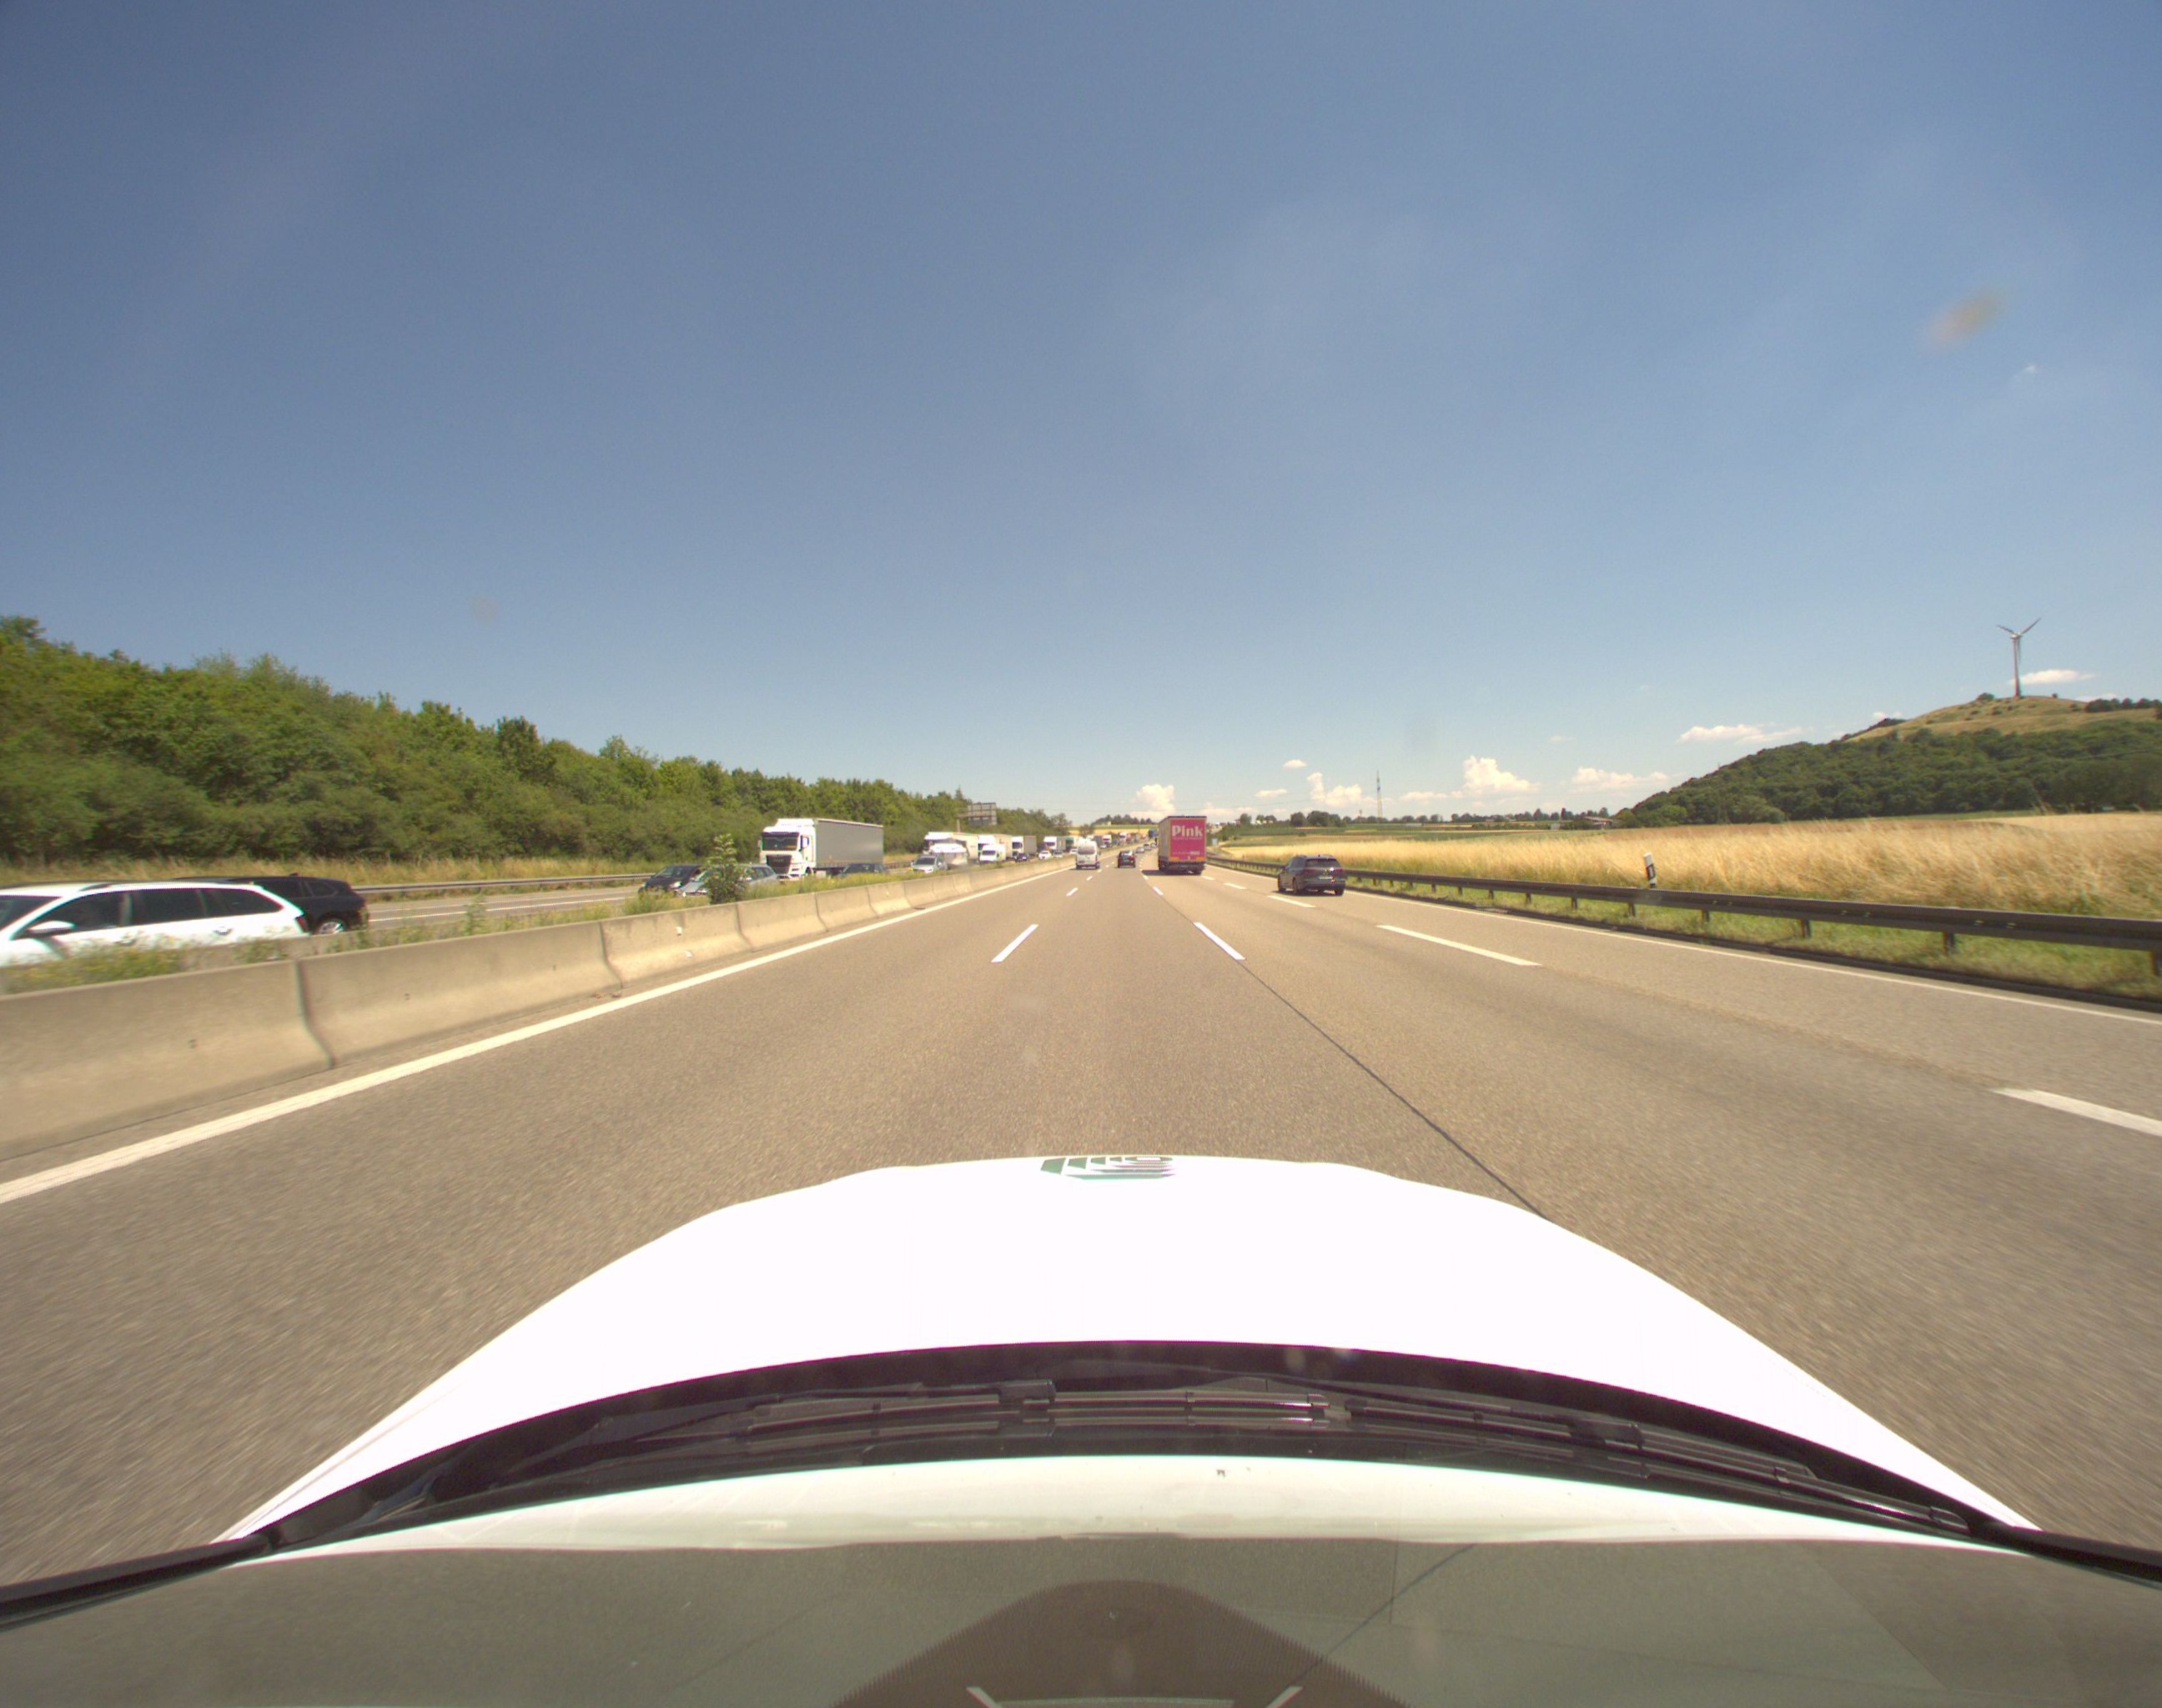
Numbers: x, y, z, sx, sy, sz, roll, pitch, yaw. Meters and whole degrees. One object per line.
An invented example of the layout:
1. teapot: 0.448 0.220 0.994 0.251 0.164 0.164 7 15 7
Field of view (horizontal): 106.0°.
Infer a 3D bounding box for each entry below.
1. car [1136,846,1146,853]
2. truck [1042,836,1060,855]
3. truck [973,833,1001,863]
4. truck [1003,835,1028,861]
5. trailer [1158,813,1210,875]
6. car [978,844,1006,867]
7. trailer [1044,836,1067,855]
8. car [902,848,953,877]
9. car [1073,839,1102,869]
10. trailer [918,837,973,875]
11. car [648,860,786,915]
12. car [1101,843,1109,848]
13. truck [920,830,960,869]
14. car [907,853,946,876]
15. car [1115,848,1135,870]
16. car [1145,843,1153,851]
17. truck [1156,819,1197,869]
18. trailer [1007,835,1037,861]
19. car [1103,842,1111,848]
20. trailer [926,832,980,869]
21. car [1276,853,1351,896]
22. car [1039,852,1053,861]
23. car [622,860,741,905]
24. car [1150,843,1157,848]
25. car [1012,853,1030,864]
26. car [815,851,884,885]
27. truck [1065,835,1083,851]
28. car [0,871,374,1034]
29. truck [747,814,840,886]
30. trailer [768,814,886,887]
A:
1. car: 13.374 -0.956 181.932 1.985 1.585 4.004 -2 0 3
2. truck: -6.568 -1.792 176.916 2.838 4.036 6.616 -1 1 6
3. truck: -13.019 -0.865 112.822 2.743 4.042 6.106 0 1 4
4. truck: -10.818 -0.958 135.869 2.947 4.209 6.616 0 0 6
5. trailer: 7.464 -0.794 60.860 2.906 4.117 13.871 0 1 3
6. car: -10.459 0.199 96.093 1.889 2.574 7.581 -1 0 4
7. trailer: -5.741 -1.929 183.851 2.887 4.086 14.476 -1 1 7
8. car: -9.603 0.518 51.236 1.832 1.677 4.450 -1 0 7
9. car: 0.622 0.023 75.307 2.168 2.625 4.681 0 -1 7
10. trailer: -12.041 0.182 73.452 2.859 3.183 10.732 0 0 1
11. car: -11.052 0.955 25.169 1.986 1.445 4.794 -1 0 1
12. car: 7.240 -2.420 243.485 1.949 1.460 4.258 0 -1 9
13. truck: -15.068 -0.441 87.516 2.835 4.006 5.982 -1 0 4
14. car: -12.393 0.821 65.746 2.099 1.723 4.932 -1 0 1
15. car: 4.369 0.468 80.348 1.839 1.860 4.211 -1 3 4
16. car: 17.264 -1.735 207.802 1.984 1.904 4.006 -1 0 6
17. truck: 7.849 -0.844 67.760 2.904 4.008 6.516 0 1 3
18. trailer: -10.217 -1.018 142.467 2.967 4.206 14.215 0 0 5
19. car: 8.225 -2.760 256.993 1.852 1.641 5.123 -1 -1 6
20. trailer: -14.568 -0.394 93.929 2.890 3.873 13.894 -1 0 4
21. car: 8.595 0.730 30.480 1.753 1.471 4.541 0 0 4
22. car: -5.973 0.411 139.608 1.872 1.474 4.412 -1 0 4
23. car: -14.908 1.016 30.703 1.983 1.520 4.315 -1 0 6
24. car: 21.707 -2.422 243.578 1.984 1.310 4.006 -1 2 5
25. car: -8.849 0.641 120.634 1.868 1.434 4.930 0 0 4
26. car: -11.079 0.643 39.288 1.986 1.520 4.308 -1 0 1
27. truck: -1.814 -2.888 210.190 2.827 3.898 11.273 -2 1 8
28. car: -11.509 1.024 9.469 1.986 1.520 5.153 -1 0 1
29. truck: -17.634 -0.233 50.405 3.186 4.132 6.188 -1 0 3
30. trailer: -17.359 -0.234 57.202 3.208 4.421 13.791 -1 0 3
